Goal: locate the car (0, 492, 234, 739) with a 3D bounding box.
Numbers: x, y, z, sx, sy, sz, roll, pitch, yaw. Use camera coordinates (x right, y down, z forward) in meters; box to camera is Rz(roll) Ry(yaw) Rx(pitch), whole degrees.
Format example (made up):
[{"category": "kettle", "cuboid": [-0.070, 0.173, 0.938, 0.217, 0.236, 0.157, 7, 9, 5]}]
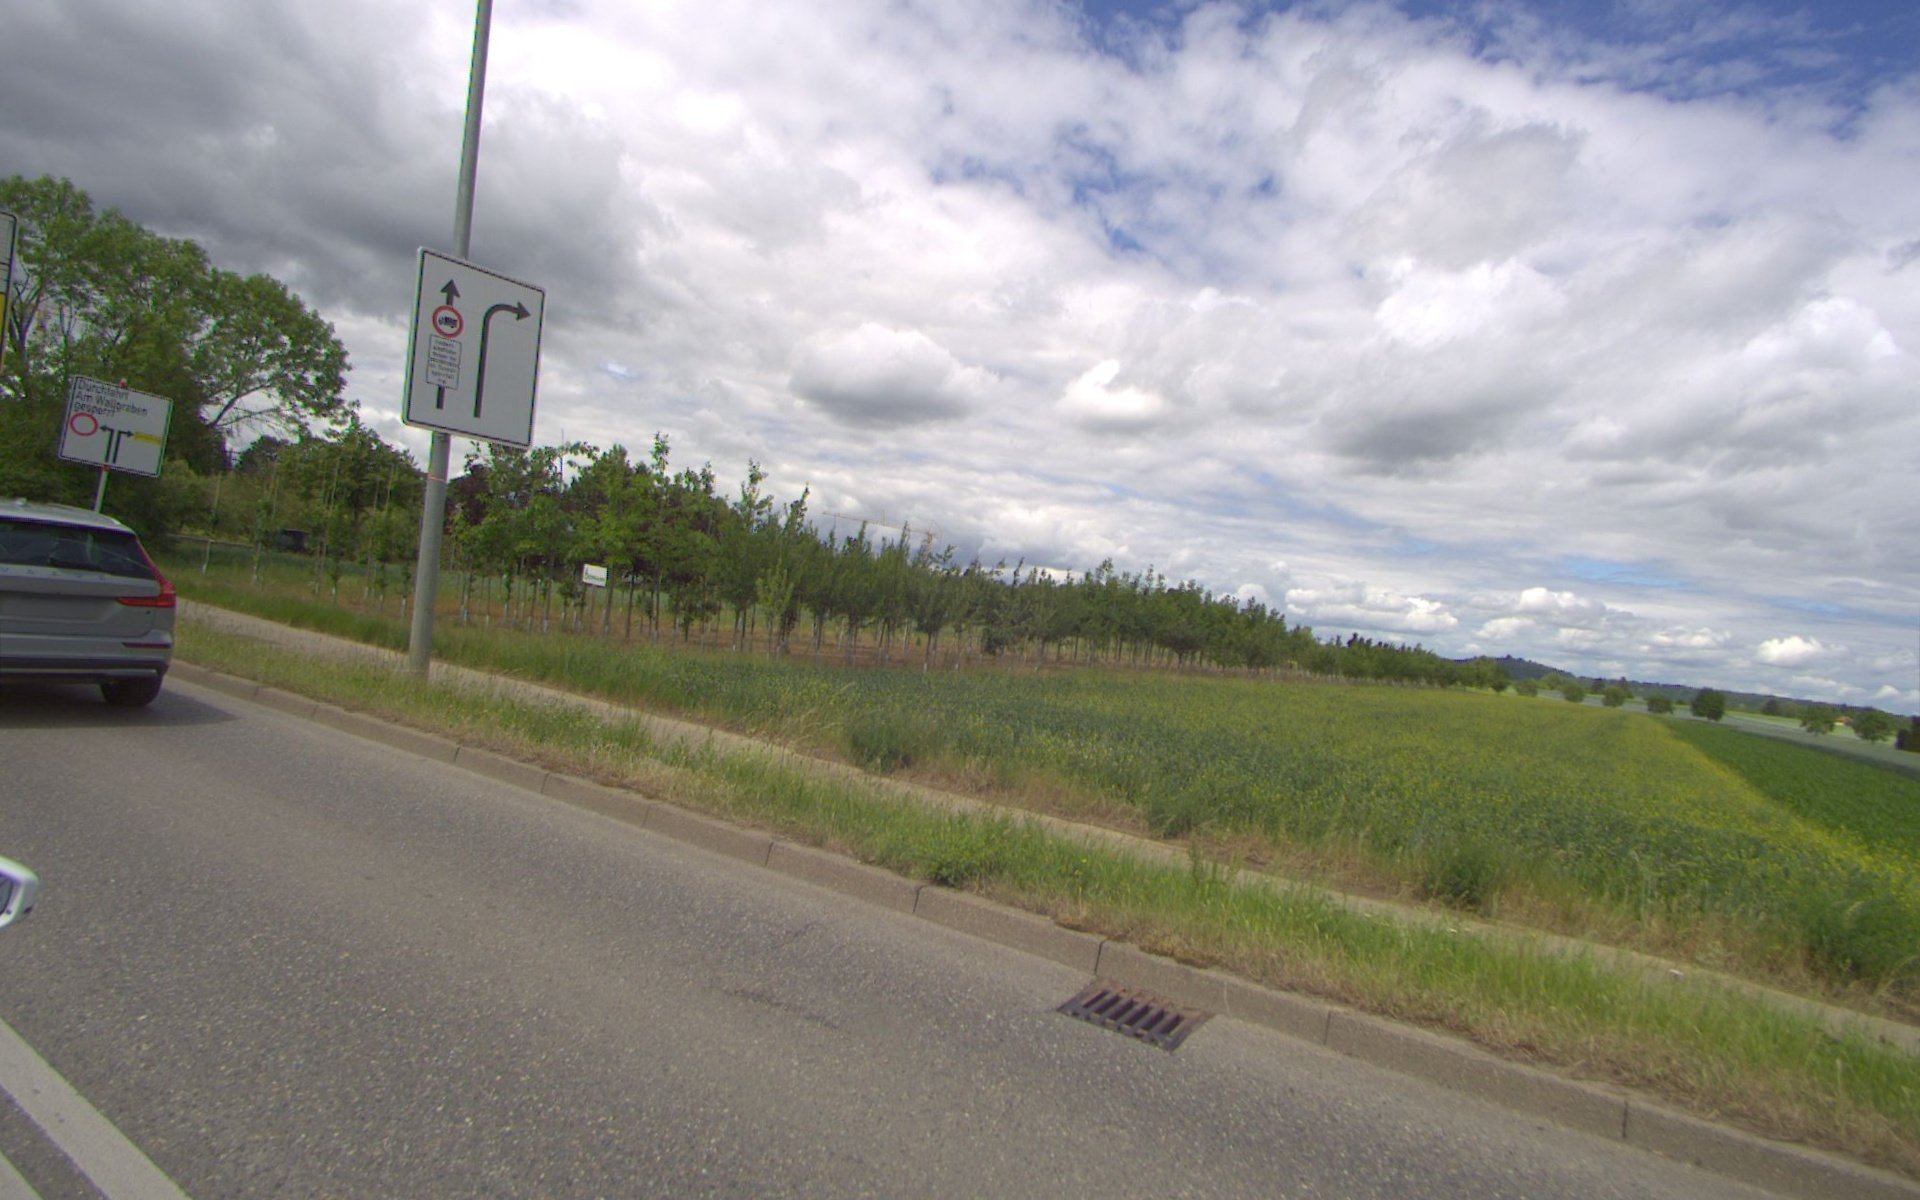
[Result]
[{"category": "car", "cuboid": [-7.697, -0.093, 7.650, 4.372, 1.537, 1.865, 7, 0, 31]}]
